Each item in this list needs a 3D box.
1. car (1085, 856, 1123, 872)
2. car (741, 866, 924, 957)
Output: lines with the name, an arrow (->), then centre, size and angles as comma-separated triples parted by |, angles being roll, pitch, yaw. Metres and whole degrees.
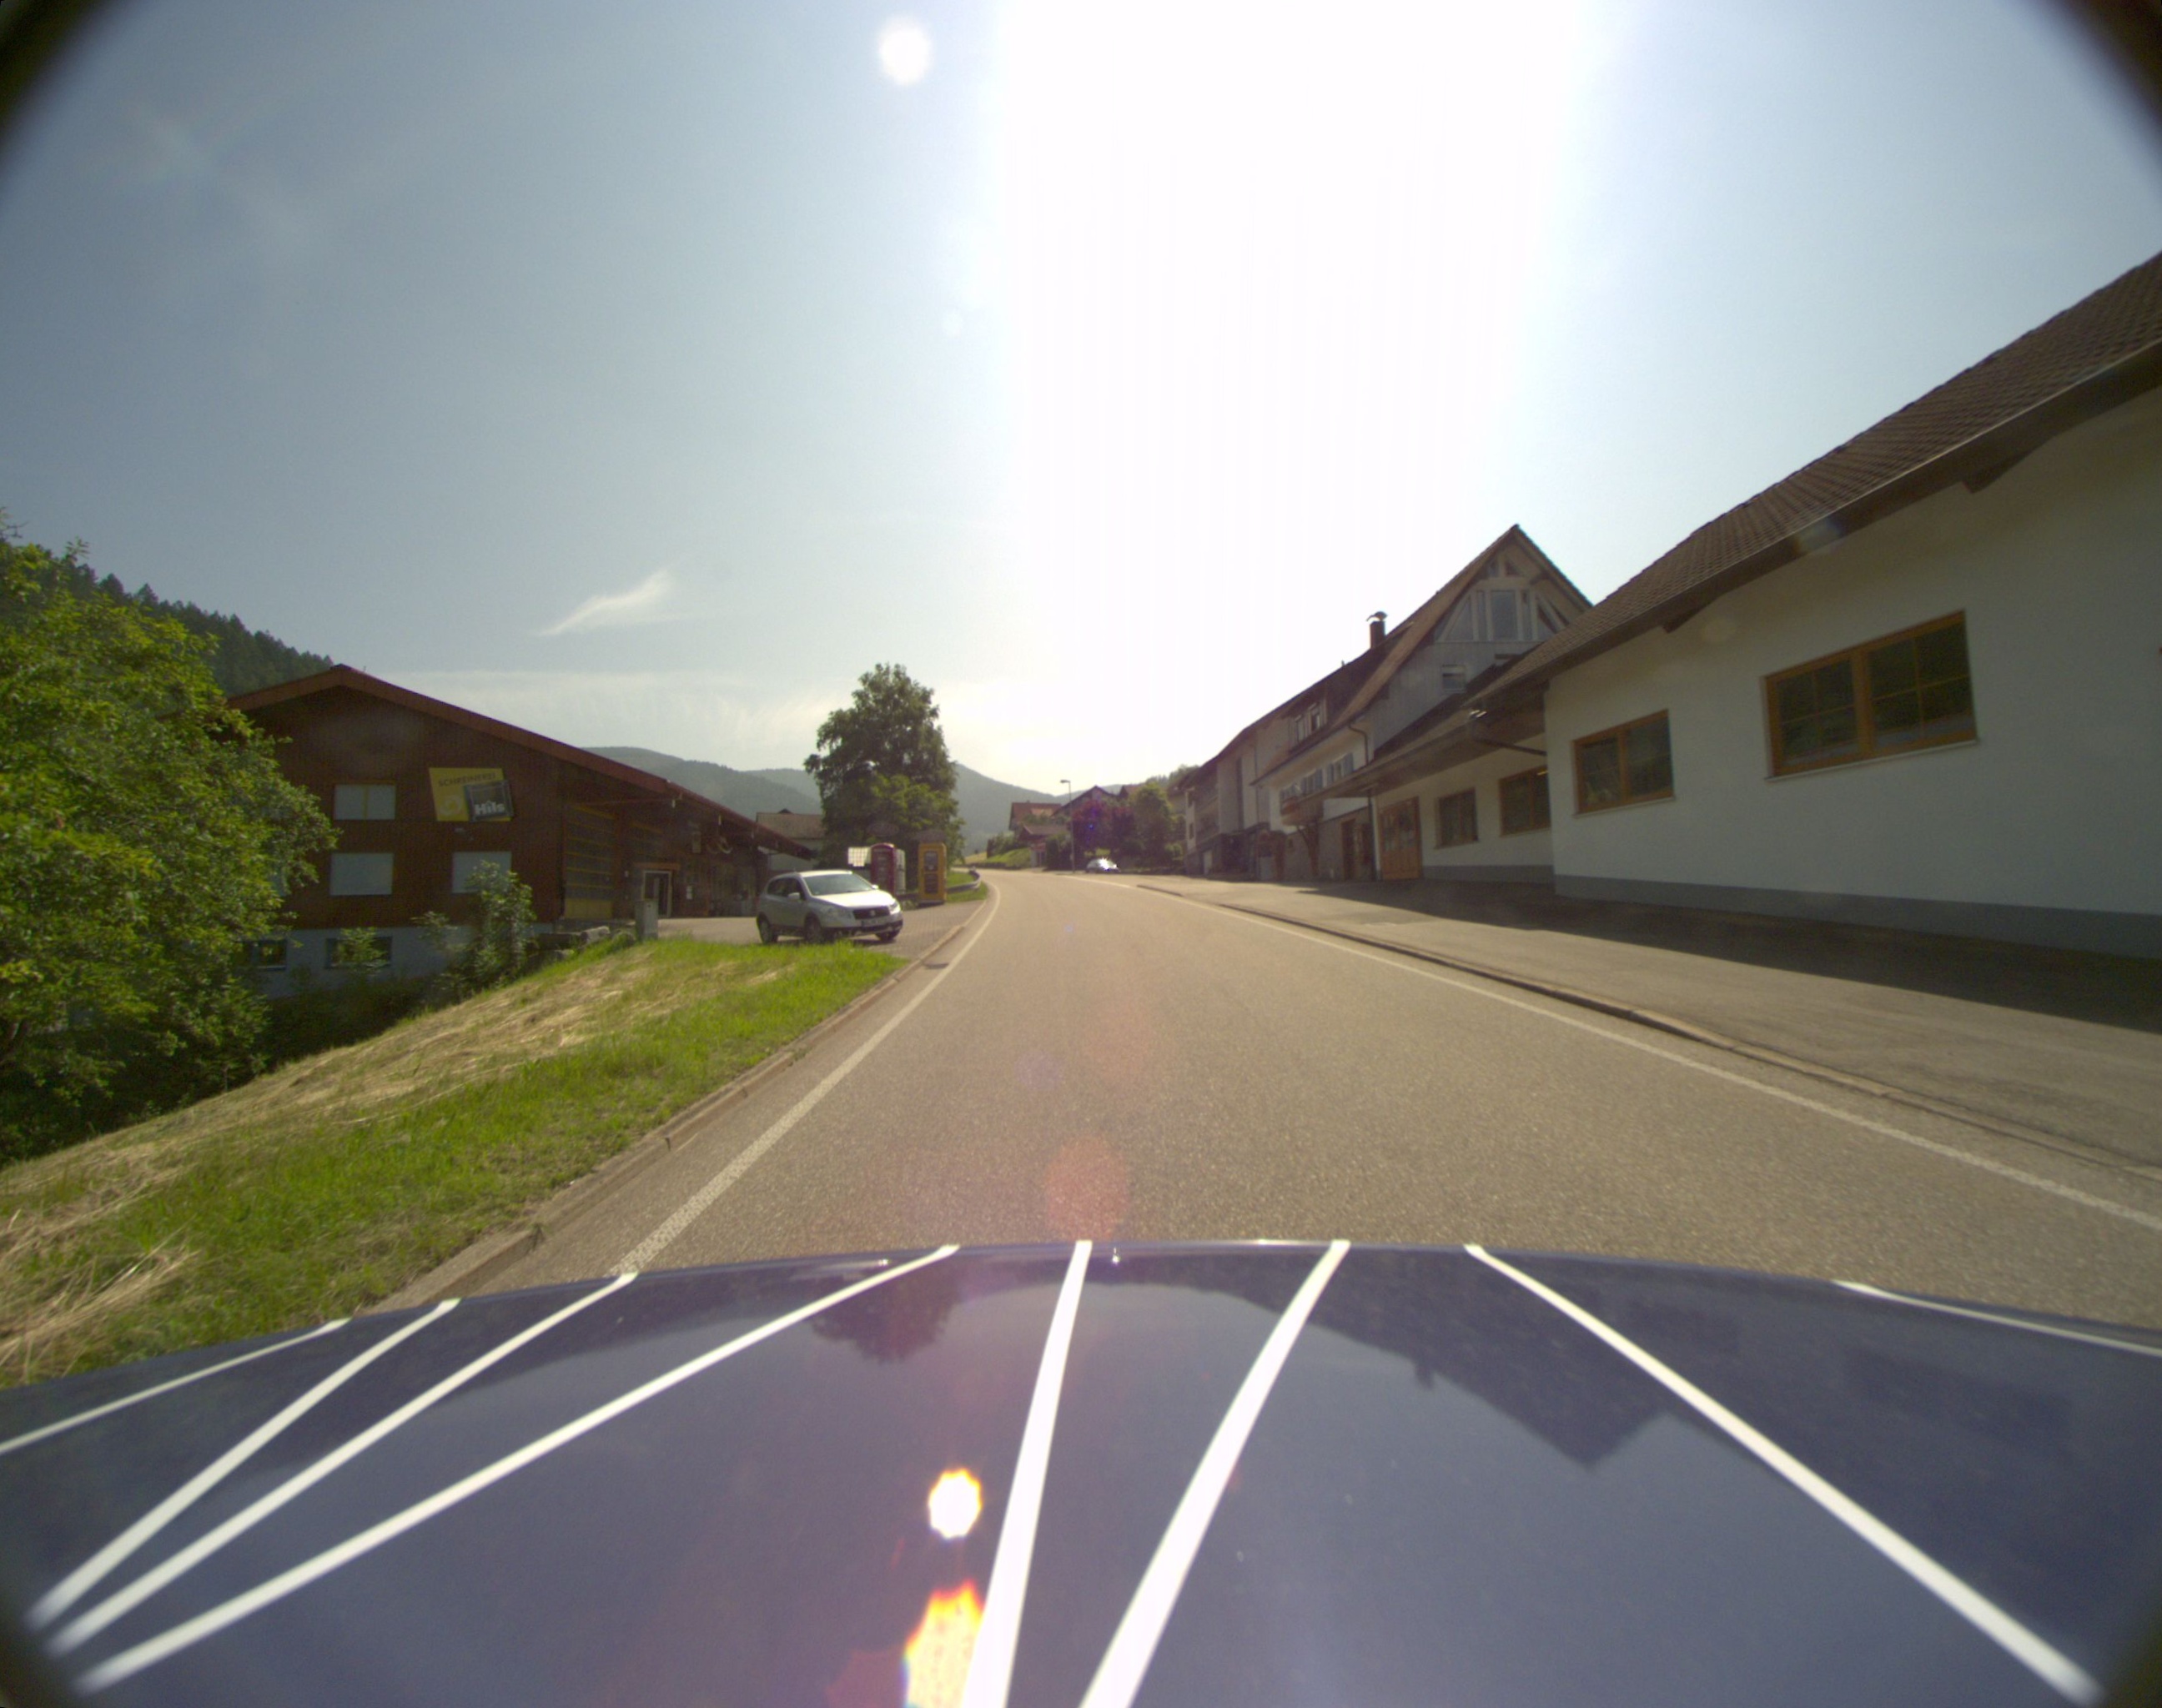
car -> 1.912, 0.852, 65.063 | 1.789, 1.331, 4.689 | -1, 0, -17
car -> -5.472, 1.196, 16.374 | 1.909, 1.562, 4.451 | -5, 0, -44
